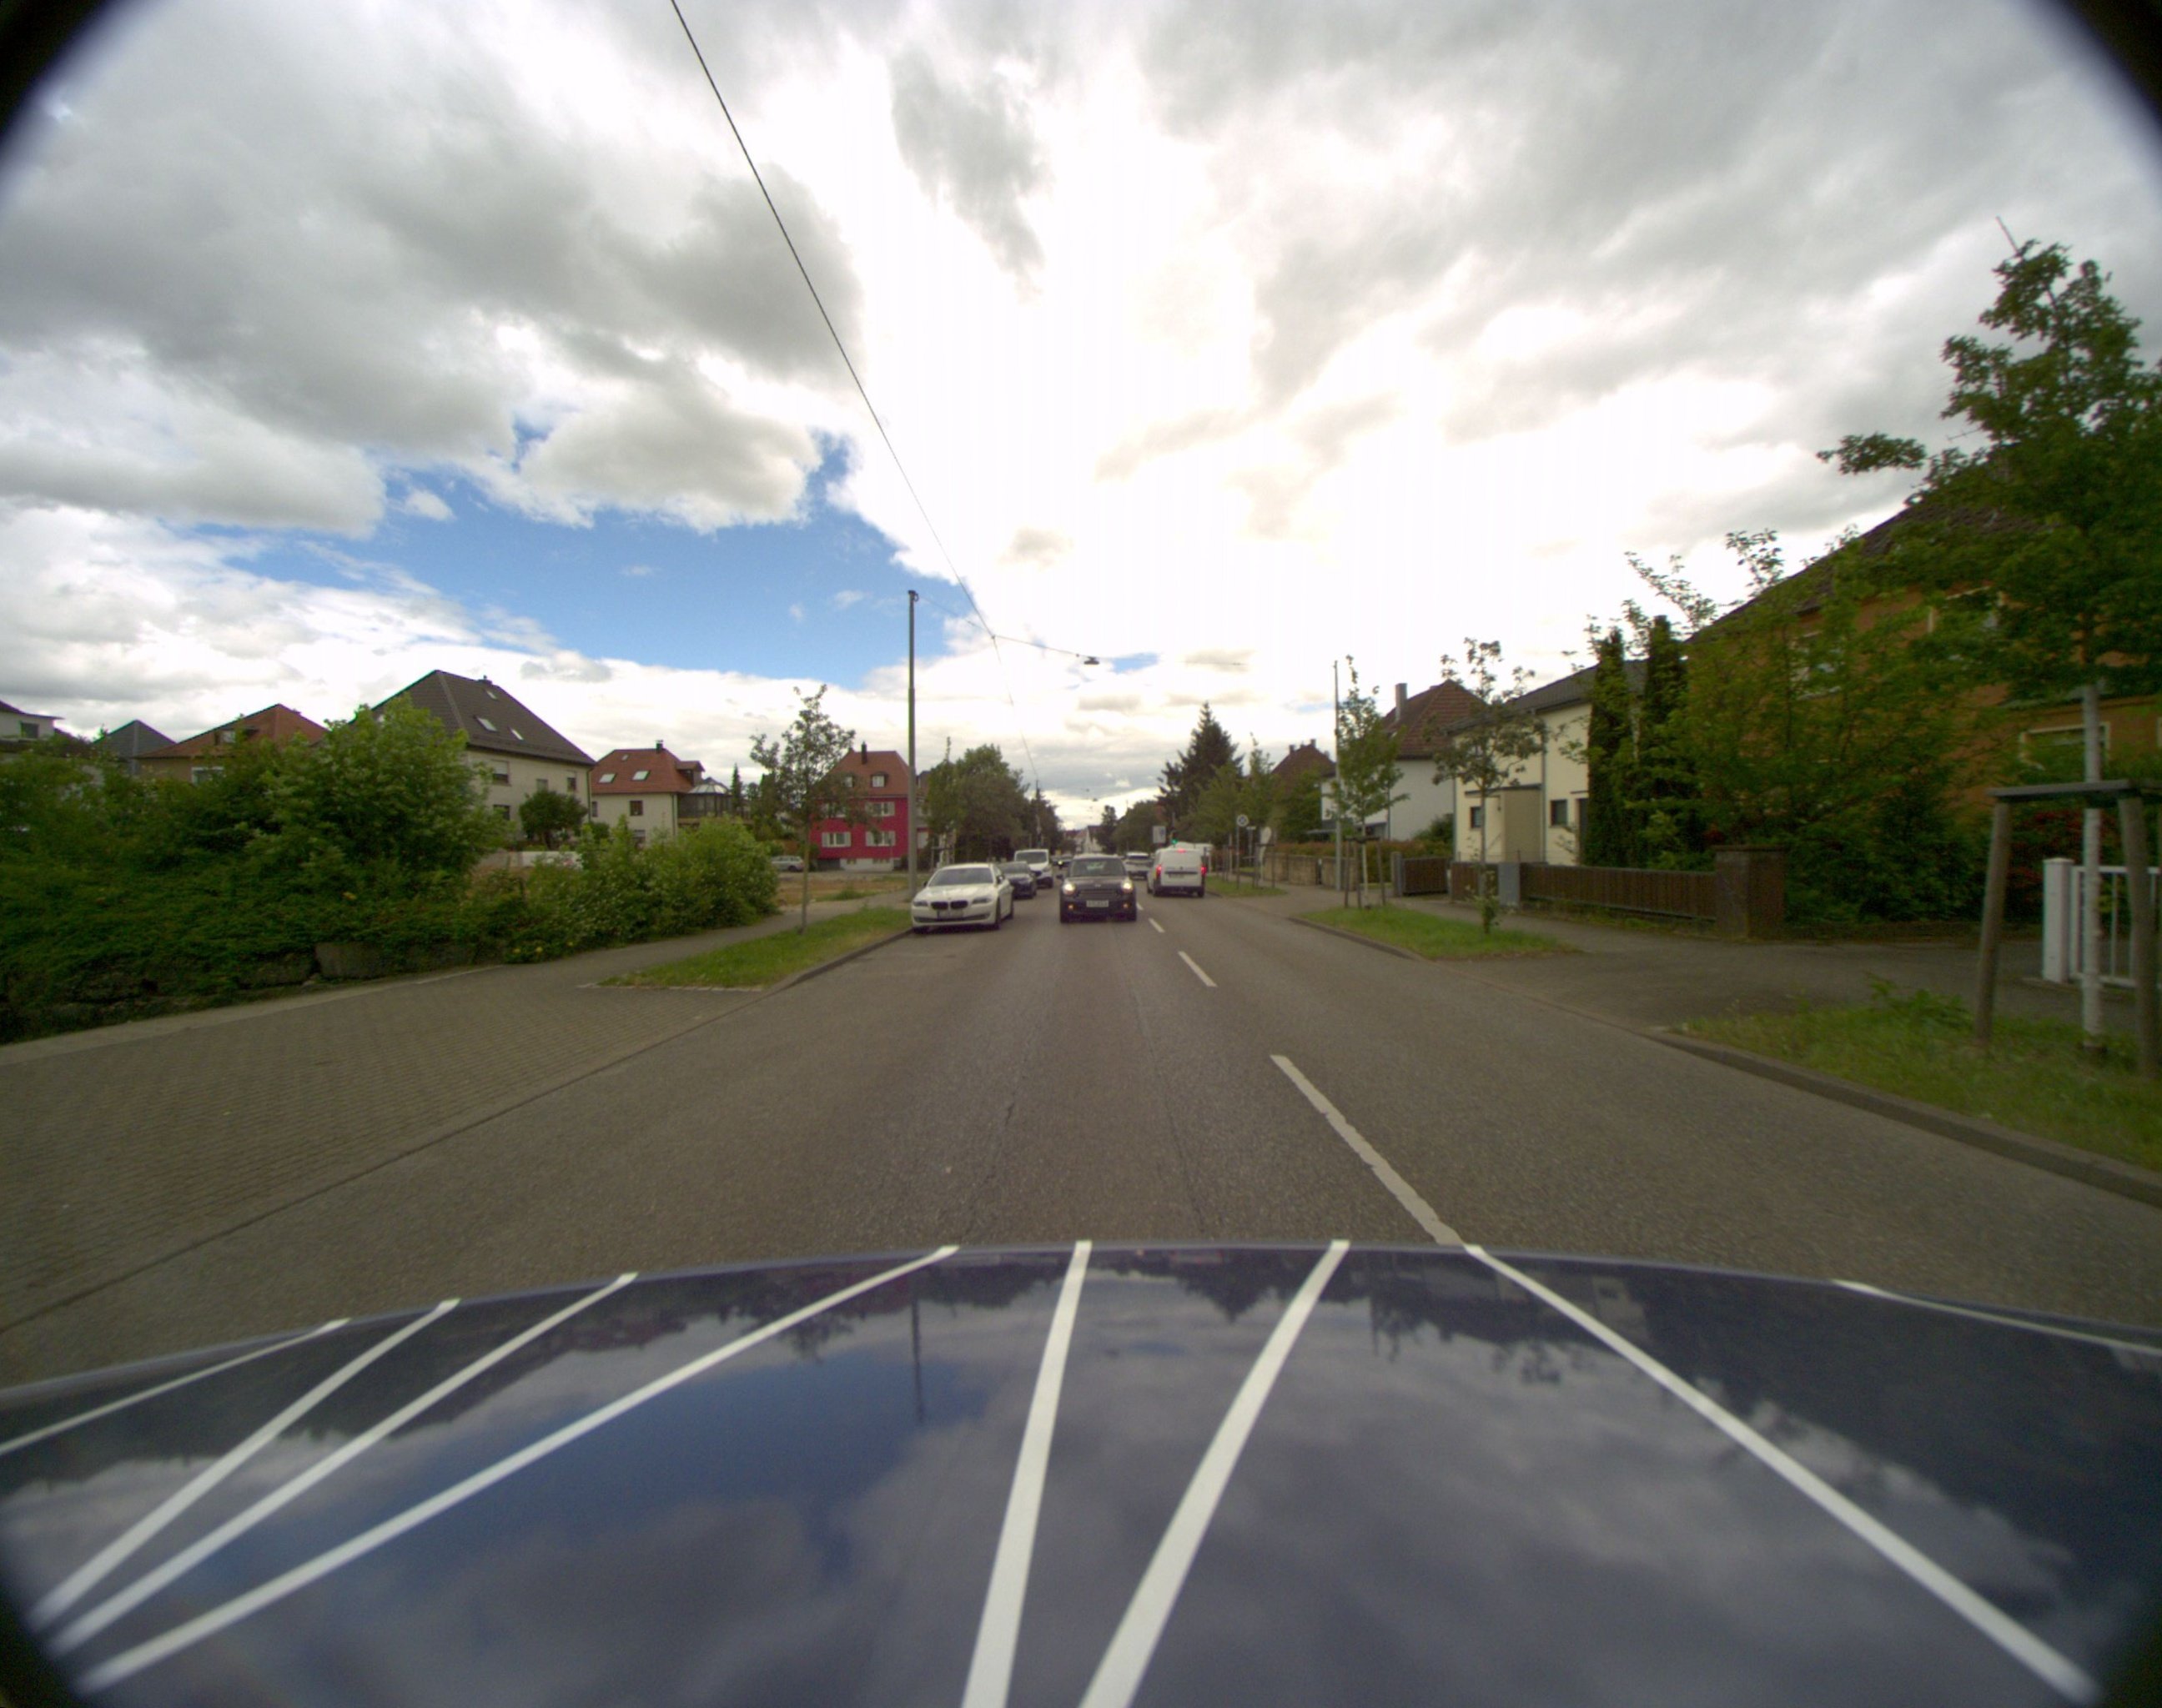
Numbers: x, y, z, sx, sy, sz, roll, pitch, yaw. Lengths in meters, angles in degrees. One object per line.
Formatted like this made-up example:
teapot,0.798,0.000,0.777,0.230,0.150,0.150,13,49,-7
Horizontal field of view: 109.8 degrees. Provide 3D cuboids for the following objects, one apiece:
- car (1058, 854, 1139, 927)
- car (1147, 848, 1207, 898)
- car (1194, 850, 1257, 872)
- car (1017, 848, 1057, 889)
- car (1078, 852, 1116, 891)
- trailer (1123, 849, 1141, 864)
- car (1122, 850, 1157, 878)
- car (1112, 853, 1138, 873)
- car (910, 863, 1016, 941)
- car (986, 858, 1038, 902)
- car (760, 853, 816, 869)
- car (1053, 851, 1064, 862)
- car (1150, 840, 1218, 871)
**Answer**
car,0.433,0.789,18.458,1.743,1.573,3.684,-1,0,1
car,3.559,0.652,28.806,1.800,1.741,4.298,0,0,1
car,11.597,0.545,61.325,4.645,1.611,1.999,-2,0,-3
car,-2.198,0.688,39.194,1.779,1.932,4.788,-2,0,-1
car,0.712,0.723,33.538,1.590,1.598,3.684,-1,0,2
trailer,6.884,0.328,102.917,2.160,2.076,4.425,-1,0,0
car,3.592,0.585,47.144,1.818,1.683,4.465,0,0,0
car,3.463,0.658,60.094,1.620,1.463,3.999,-2,1,-2
car,-2.623,1.017,17.840,1.697,1.445,4.404,-3,0,1
car,-2.591,0.939,29.511,1.669,1.507,4.220,-2,0,-1
car,-25.780,0.638,66.862,4.231,1.416,1.760,0,-1,-1
car,-3.514,0.385,118.973,1.728,1.582,4.156,0,0,-1
car,9.018,0.097,66.634,5.610,2.549,2.133,1,2,18
